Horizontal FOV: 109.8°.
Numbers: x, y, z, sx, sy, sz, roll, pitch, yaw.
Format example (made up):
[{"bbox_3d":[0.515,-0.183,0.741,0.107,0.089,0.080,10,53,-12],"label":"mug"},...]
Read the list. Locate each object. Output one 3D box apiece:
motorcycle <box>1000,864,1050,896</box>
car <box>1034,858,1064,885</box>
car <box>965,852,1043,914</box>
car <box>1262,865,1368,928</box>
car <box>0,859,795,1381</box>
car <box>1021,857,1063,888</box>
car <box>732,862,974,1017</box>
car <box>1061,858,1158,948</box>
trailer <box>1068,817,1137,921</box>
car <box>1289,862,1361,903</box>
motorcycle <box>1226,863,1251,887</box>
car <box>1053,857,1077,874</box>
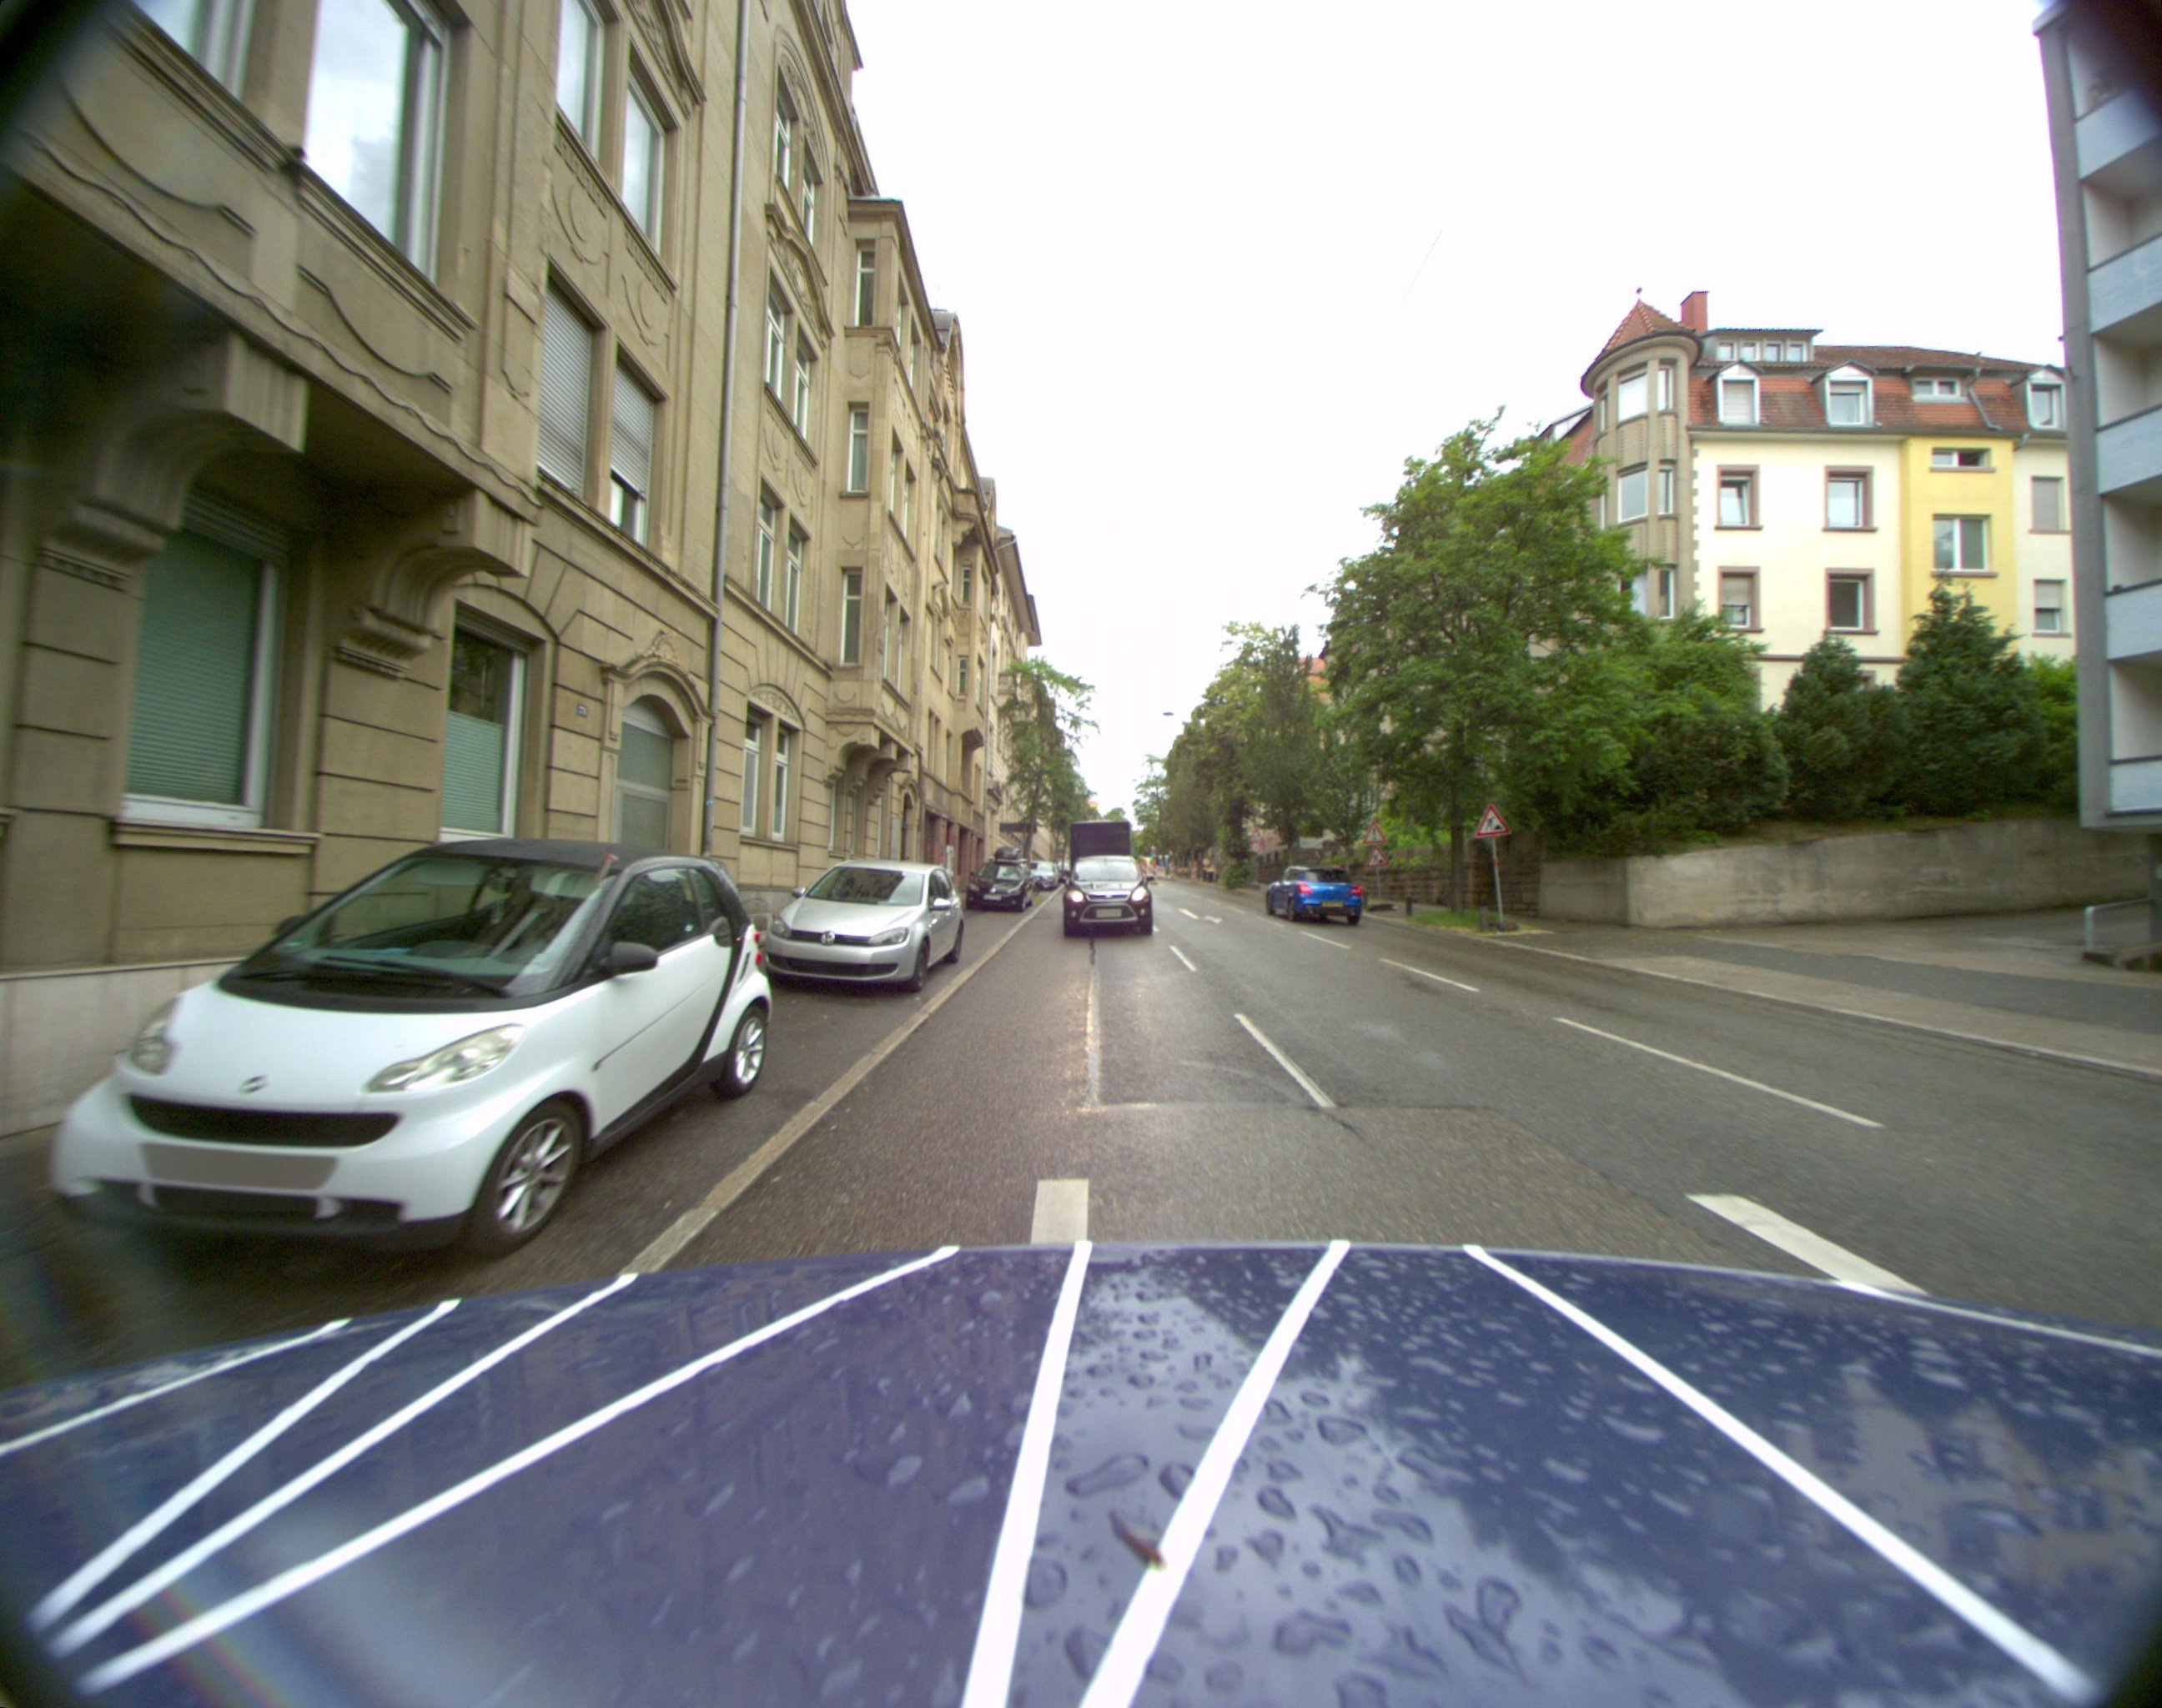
[{"bbox_3d":[-2.268,1.075,31.238,0.523,1.236,2.282,3,-1,41],"label":"motorcycle"},{"bbox_3d":[-1.851,1.013,44.736,1.495,1.440,3.181,2,0,2],"label":"car"},{"bbox_3d":[-2.320,0.841,23.937,1.764,1.641,4.099,4,0,2],"label":"car"},{"bbox_3d":[6.224,1.069,20.595,1.719,1.442,3.742,2,0,1],"label":"car"},{"bbox_3d":[-2.747,0.843,3.873,1.302,1.534,2.976,4,0,1],"label":"car"},{"bbox_3d":[-1.973,0.928,39.585,1.794,1.444,4.039,3,0,2],"label":"car"},{"bbox_3d":[-2.643,0.906,9.850,1.764,1.443,4.000,4,0,1],"label":"car"},{"bbox_3d":[0.617,0.940,16.594,1.823,1.662,4.523,-1,0,2],"label":"car"},{"bbox_3d":[0.594,0.383,22.568,1.783,2.744,4.817,-1,0,1],"label":"trailer"},{"bbox_3d":[9.513,1.072,29.906,1.617,1.442,4.064,-1,0,2],"label":"car"},{"bbox_3d":[9.597,1.248,46.469,0.802,1.406,3.062,-2,0,-2],"label":"motorcycle"},{"bbox_3d":[-1.451,1.041,70.848,1.910,1.502,4.318,3,0,2],"label":"car"}]
